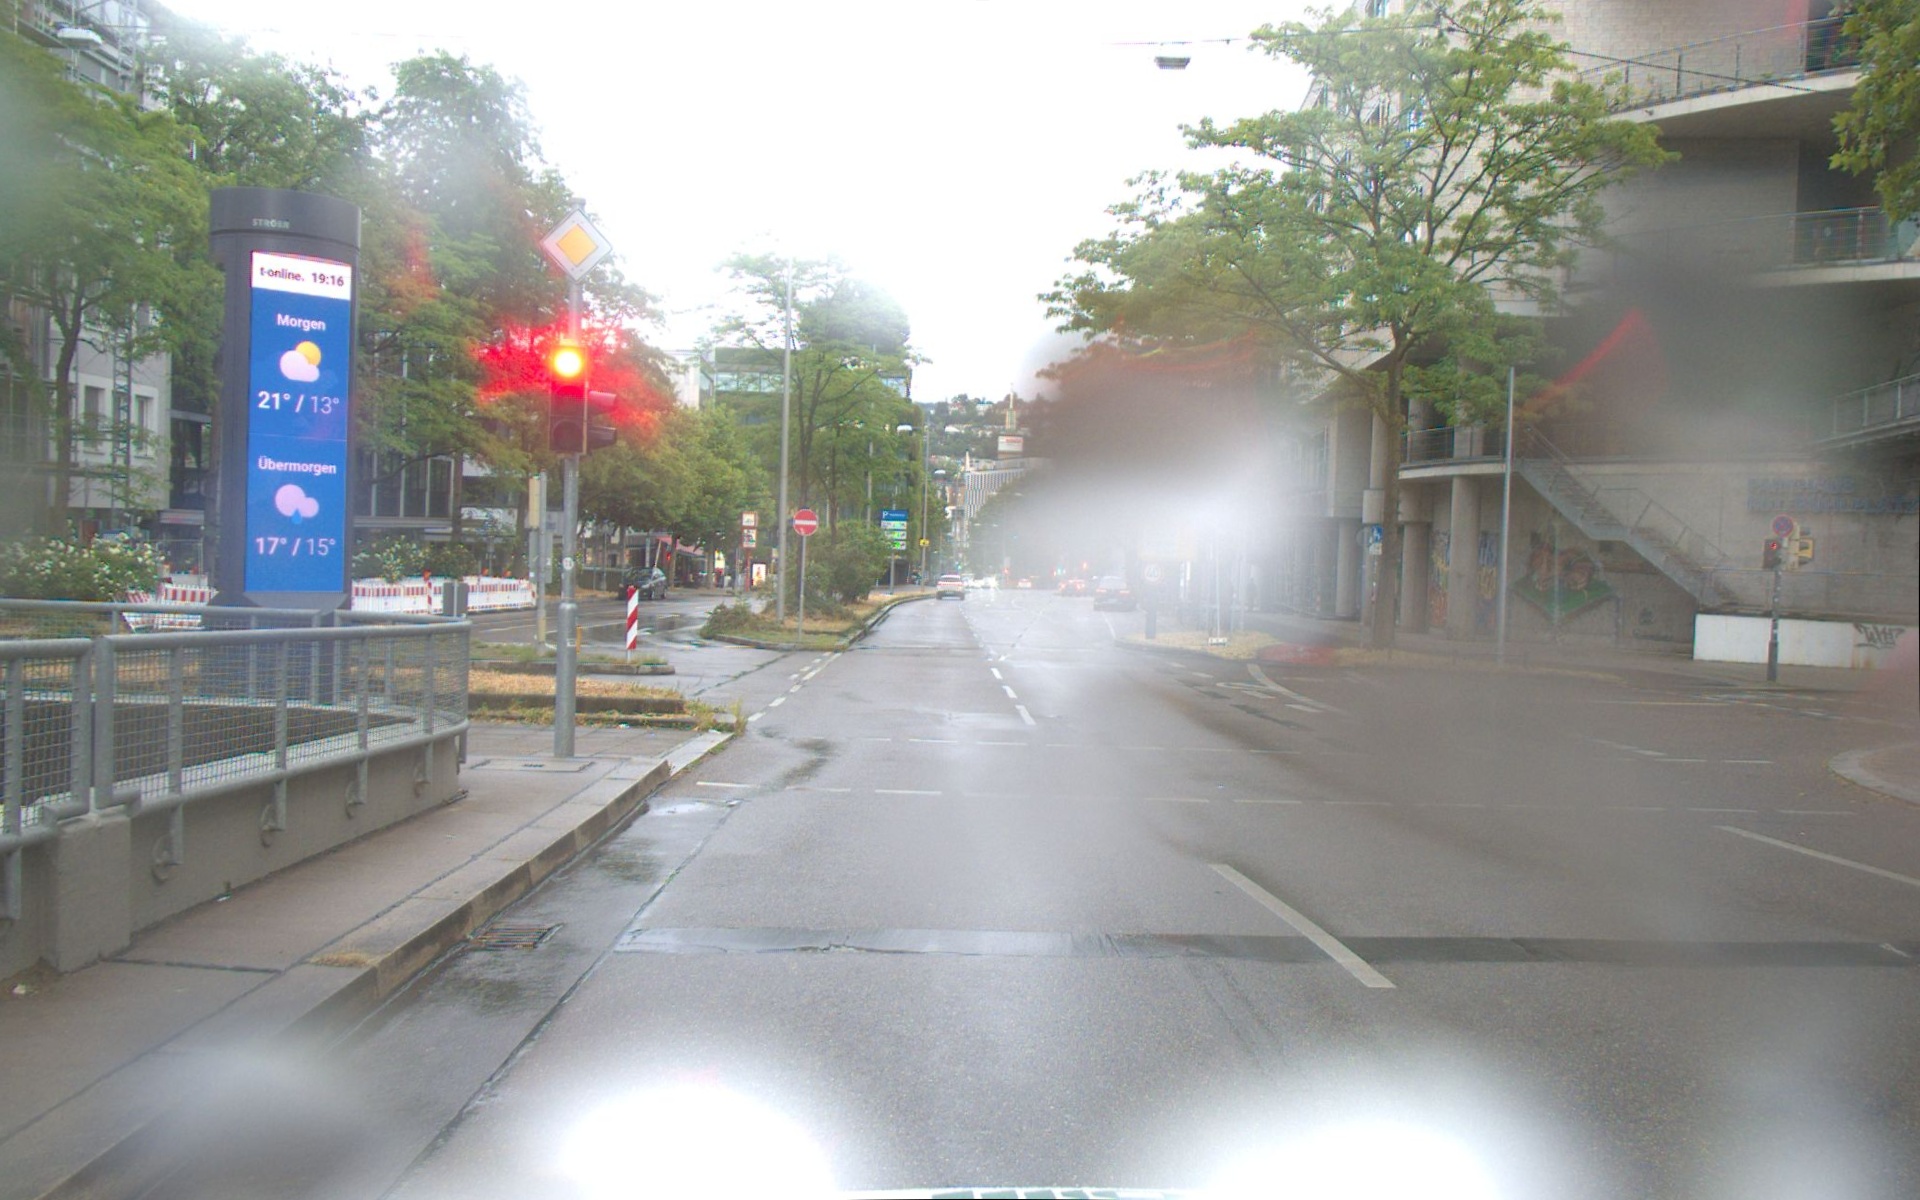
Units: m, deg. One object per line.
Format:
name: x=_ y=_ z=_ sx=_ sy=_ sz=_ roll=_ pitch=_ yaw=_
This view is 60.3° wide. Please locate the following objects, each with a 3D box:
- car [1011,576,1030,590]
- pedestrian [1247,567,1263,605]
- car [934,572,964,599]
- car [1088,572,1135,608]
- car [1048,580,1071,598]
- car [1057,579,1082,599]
car: x=8.254 y=-2.327 z=225.331 sx=1.955 sy=1.789 sz=3.995 roll=2 pitch=0 yaw=-6
pedestrian: x=15.554 y=-0.725 z=87.171 sx=0.759 sy=1.954 sz=0.703 roll=1 pitch=-1 yaw=9
car: x=-0.743 y=-0.966 z=110.730 sx=1.792 sy=1.668 sz=4.298 roll=2 pitch=0 yaw=-3
car: x=7.675 y=-0.503 z=83.538 sx=2.288 sy=1.720 sz=4.003 roll=1 pitch=1 yaw=6
car: x=10.040 y=-1.070 z=166.960 sx=1.953 sy=1.766 sz=3.999 roll=1 pitch=0 yaw=-1
car: x=10.330 y=-1.003 z=155.818 sx=1.953 sy=1.754 sz=3.999 roll=1 pitch=0 yaw=-2
